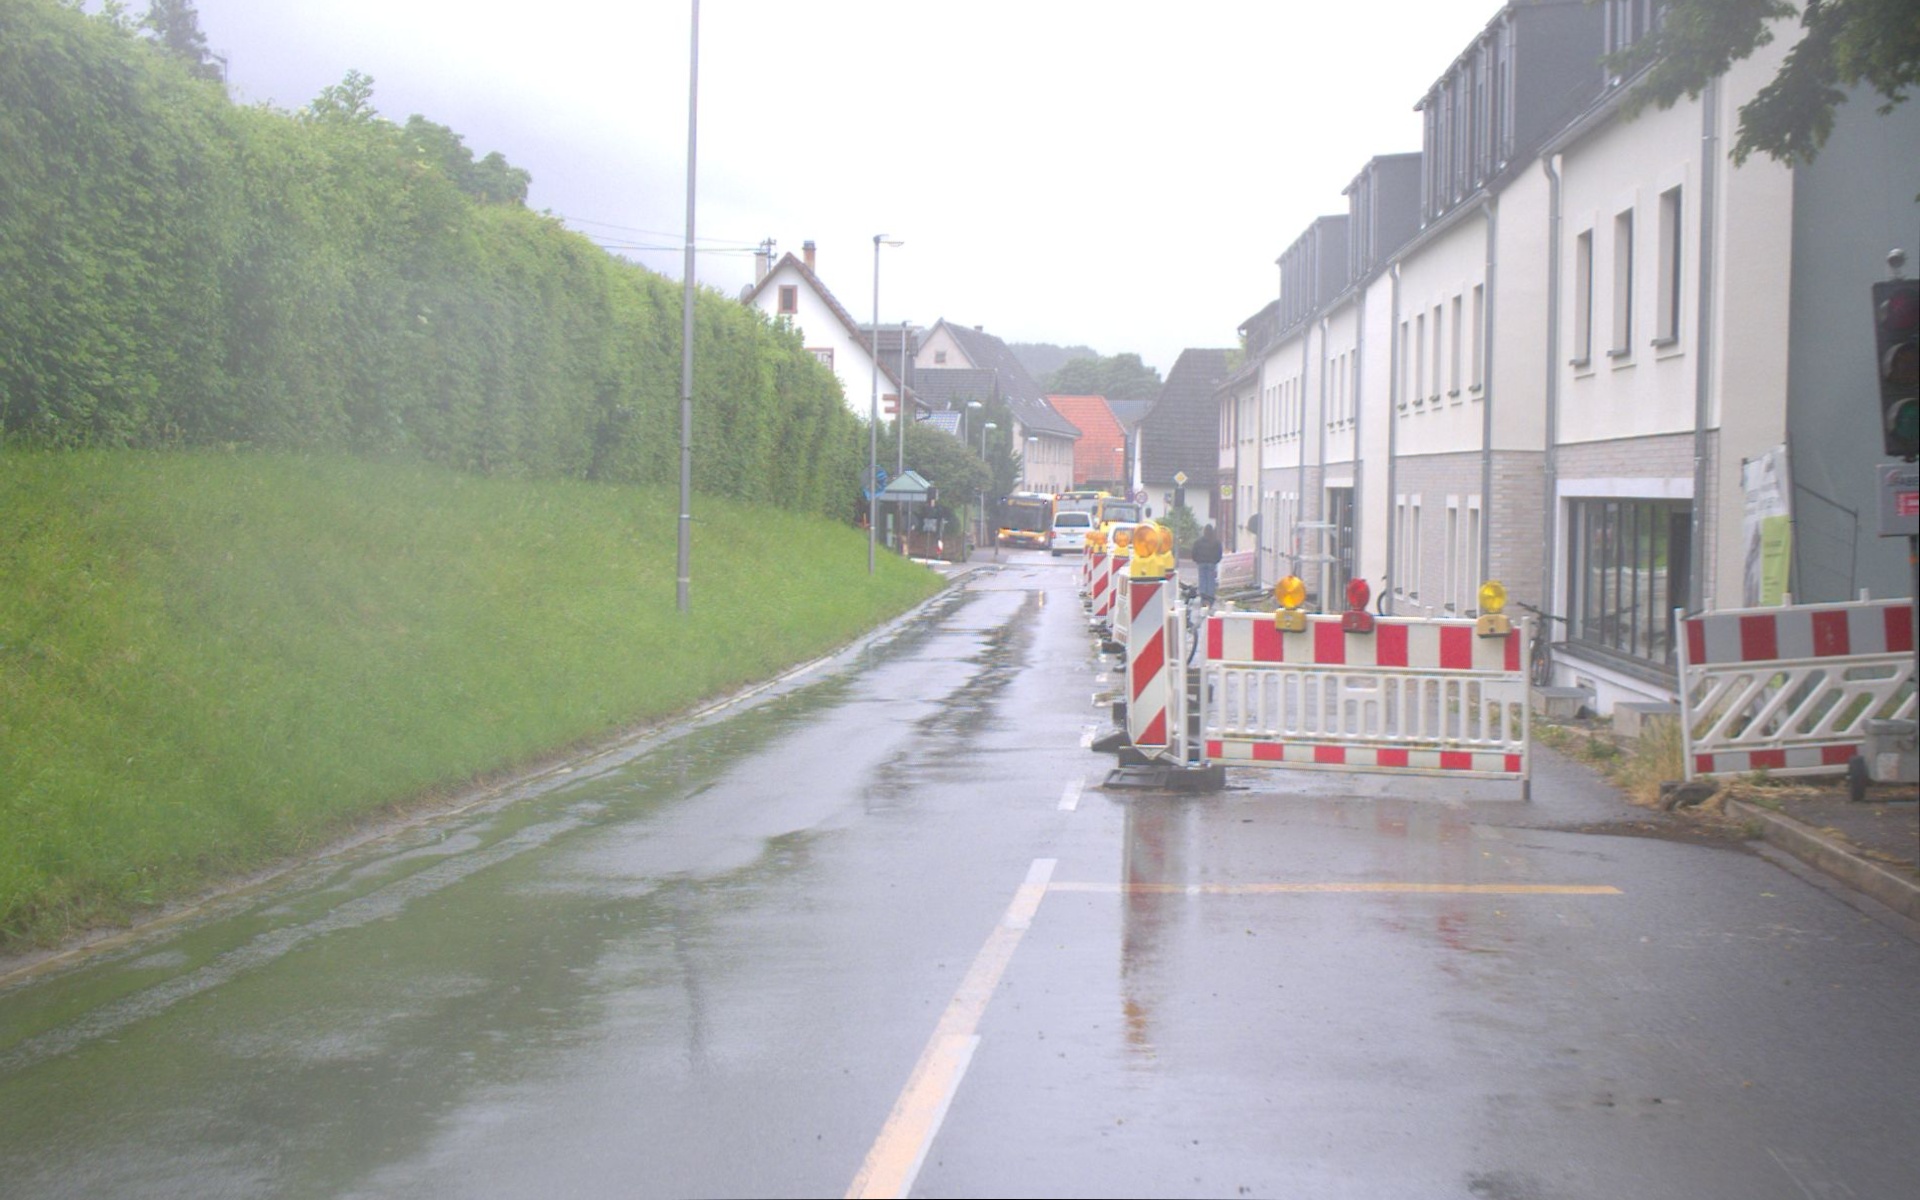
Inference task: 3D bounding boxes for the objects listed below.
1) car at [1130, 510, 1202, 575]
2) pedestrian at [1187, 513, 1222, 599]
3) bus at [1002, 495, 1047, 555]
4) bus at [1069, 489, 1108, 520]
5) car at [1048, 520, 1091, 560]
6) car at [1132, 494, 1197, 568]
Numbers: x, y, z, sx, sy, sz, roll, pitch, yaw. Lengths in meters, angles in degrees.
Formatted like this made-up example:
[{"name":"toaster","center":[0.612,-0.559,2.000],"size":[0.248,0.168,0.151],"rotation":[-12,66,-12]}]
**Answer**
[{"name":"car","center":[5.866,-1.647,98.219],"size":[1.904,1.766,3.887],"rotation":[-2,1,2]},{"name":"pedestrian","center":[5.114,-0.922,71.872],"size":[0.665,1.749,0.812],"rotation":[-2,1,3]},{"name":"bus","center":[3.478,-4.029,184.361],"size":[2.241,3.092,7.030],"rotation":[-2,1,2]},{"name":"bus","center":[6.512,-4.817,173.618],"size":[1.794,1.405,4.000],"rotation":[3,1,4]},{"name":"car","center":[4.789,-2.635,150.582],"size":[1.818,1.636,4.095],"rotation":[-2,1,2]},{"name":"car","center":[6.858,-2.323,115.730],"size":[1.993,2.367,4.095],"rotation":[-2,1,2]}]
